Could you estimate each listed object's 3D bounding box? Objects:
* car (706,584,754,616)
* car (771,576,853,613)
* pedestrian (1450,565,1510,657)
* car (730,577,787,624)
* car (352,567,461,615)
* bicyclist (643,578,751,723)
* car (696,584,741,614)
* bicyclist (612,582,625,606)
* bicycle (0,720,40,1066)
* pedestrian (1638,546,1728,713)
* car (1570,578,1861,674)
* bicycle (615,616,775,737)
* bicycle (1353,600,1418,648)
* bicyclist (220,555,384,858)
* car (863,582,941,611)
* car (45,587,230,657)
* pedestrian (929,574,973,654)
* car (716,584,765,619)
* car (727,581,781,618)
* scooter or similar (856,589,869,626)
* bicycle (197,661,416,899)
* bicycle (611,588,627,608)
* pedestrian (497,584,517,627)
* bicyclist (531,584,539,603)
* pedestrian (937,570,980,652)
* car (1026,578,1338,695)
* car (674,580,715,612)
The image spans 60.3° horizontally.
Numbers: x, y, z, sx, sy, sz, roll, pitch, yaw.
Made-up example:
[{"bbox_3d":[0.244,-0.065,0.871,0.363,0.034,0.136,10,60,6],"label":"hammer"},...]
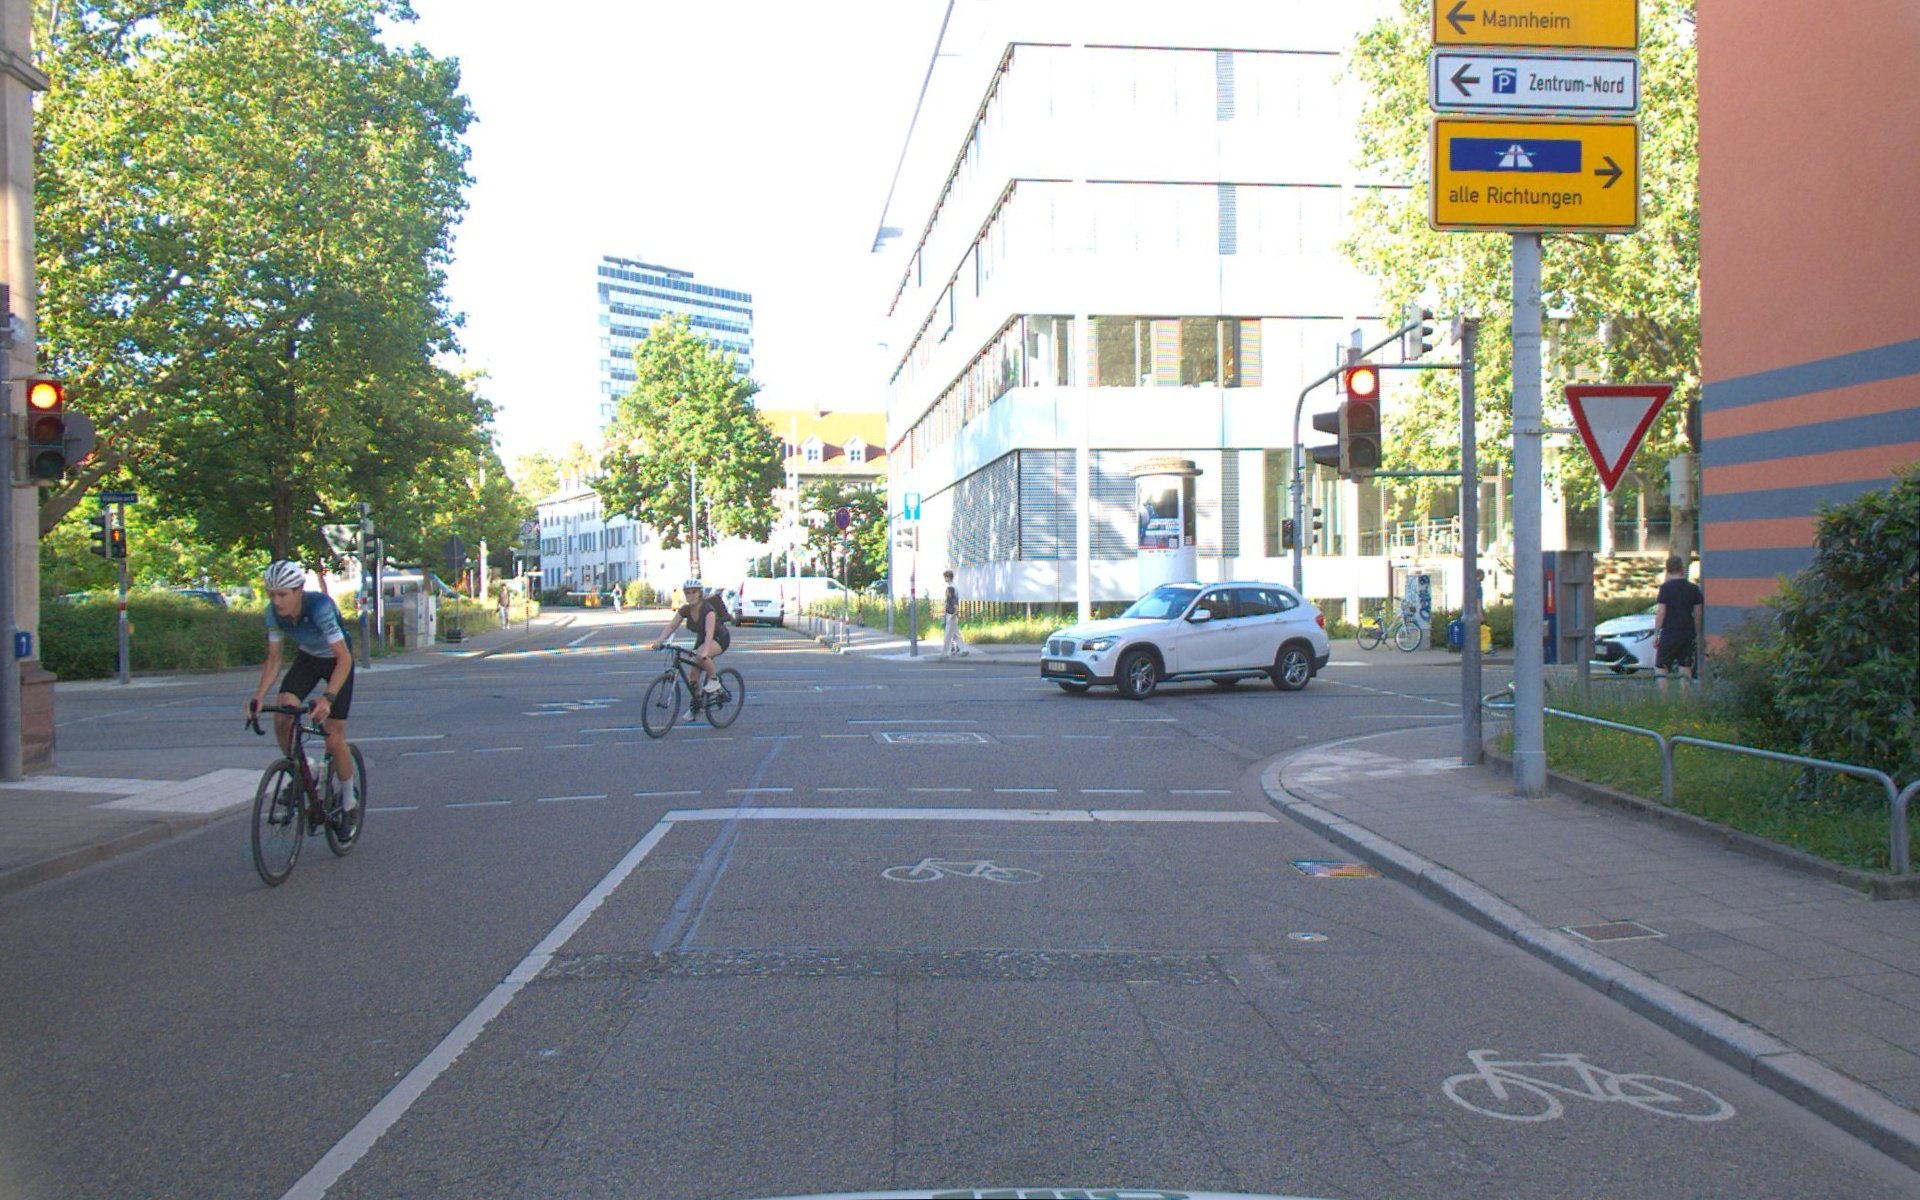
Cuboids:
[{"bbox_3d":[-11.306,-0.005,81.075,1.959,1.525,4.272,1,0,-13],"label":"car"},{"bbox_3d":[-9.197,-0.344,102.788,4.718,2.196,1.990,1,0,-18],"label":"car"},{"bbox_3d":[10.640,0.231,33.865,0.897,1.847,0.760,1,-1,-10],"label":"pedestrian"},{"bbox_3d":[-7.915,0.020,64.693,1.957,1.755,4.641,1,0,-10],"label":"car"},{"bbox_3d":[-24.961,-0.388,74.673,4.363,2.049,1.995,1,0,-10],"label":"car"},{"bbox_3d":[-2.766,0.514,17.428,0.615,1.471,0.971,-1,0,35],"label":"bicyclist"},{"bbox_3d":[-12.549,-0.047,85.780,1.959,1.525,4.637,1,0,-13],"label":"car"},{"bbox_3d":[-19.938,-0.350,96.657,0.578,1.421,0.747,-1,0,-1],"label":"bicyclist"},{"bbox_3d":[-3.659,1.027,4.940,0.612,1.172,1.971,-1,0,3],"label":"bicycle"},{"bbox_3d":[8.181,0.329,18.709,0.713,1.842,0.691,1,-1,-42],"label":"pedestrian"},{"bbox_3d":[12.001,0.383,26.362,4.005,1.445,1.714,0,0,-12],"label":"car"},{"bbox_3d":[-2.766,0.775,17.431,0.615,1.172,1.778,-1,0,34],"label":"bicycle"},{"bbox_3d":[9.323,0.515,36.273,0.376,1.026,1.410,-1,0,-42],"label":"bicycle"},{"bbox_3d":[-3.765,0.583,9.524,0.613,1.657,0.826,-1,0,-2],"label":"bicyclist"},{"bbox_3d":[-3.672,-0.227,104.714,4.563,1.755,1.991,1,0,-17],"label":"car"},{"bbox_3d":[-18.367,0.485,37.056,3.347,1.483,1.646,1,0,-11],"label":"car"},{"bbox_3d":[-0.196,0.302,36.507,0.749,1.749,0.648,1,-1,21],"label":"pedestrian"},{"bbox_3d":[-10.193,0.063,76.643,1.958,1.525,4.639,1,0,-11],"label":"car"},{"bbox_3d":[-8.867,-0.015,70.893,1.958,1.525,4.639,1,0,-11],"label":"car"},{"bbox_3d":[-3.427,0.272,58.226,0.429,1.278,1.418,-1,0,-5],"label":"scooter or similar"},{"bbox_3d":[-3.767,0.991,9.684,0.613,1.172,1.783,-1,0,-2],"label":"bicycle"},{"bbox_3d":[-19.929,-0.124,96.681,0.578,1.172,1.969,-1,0,-1],"label":"bicycle"},{"bbox_3d":[-16.913,0.208,61.686,0.688,1.614,0.634,1,-1,-16],"label":"pedestrian"},{"bbox_3d":[-34.376,-0.514,133.783,0.605,1.498,0.737,-1,0,-16],"label":"bicyclist"},{"bbox_3d":[-0.034,0.256,37.374,0.749,1.826,0.648,1,-1,21],"label":"pedestrian"},{"bbox_3d":[3.194,0.465,23.560,4.309,1.541,1.702,0,0,-30],"label":"car"},{"bbox_3d":[-15.381,-0.208,95.596,1.960,1.755,4.635,1,0,-14],"label":"car"}]
